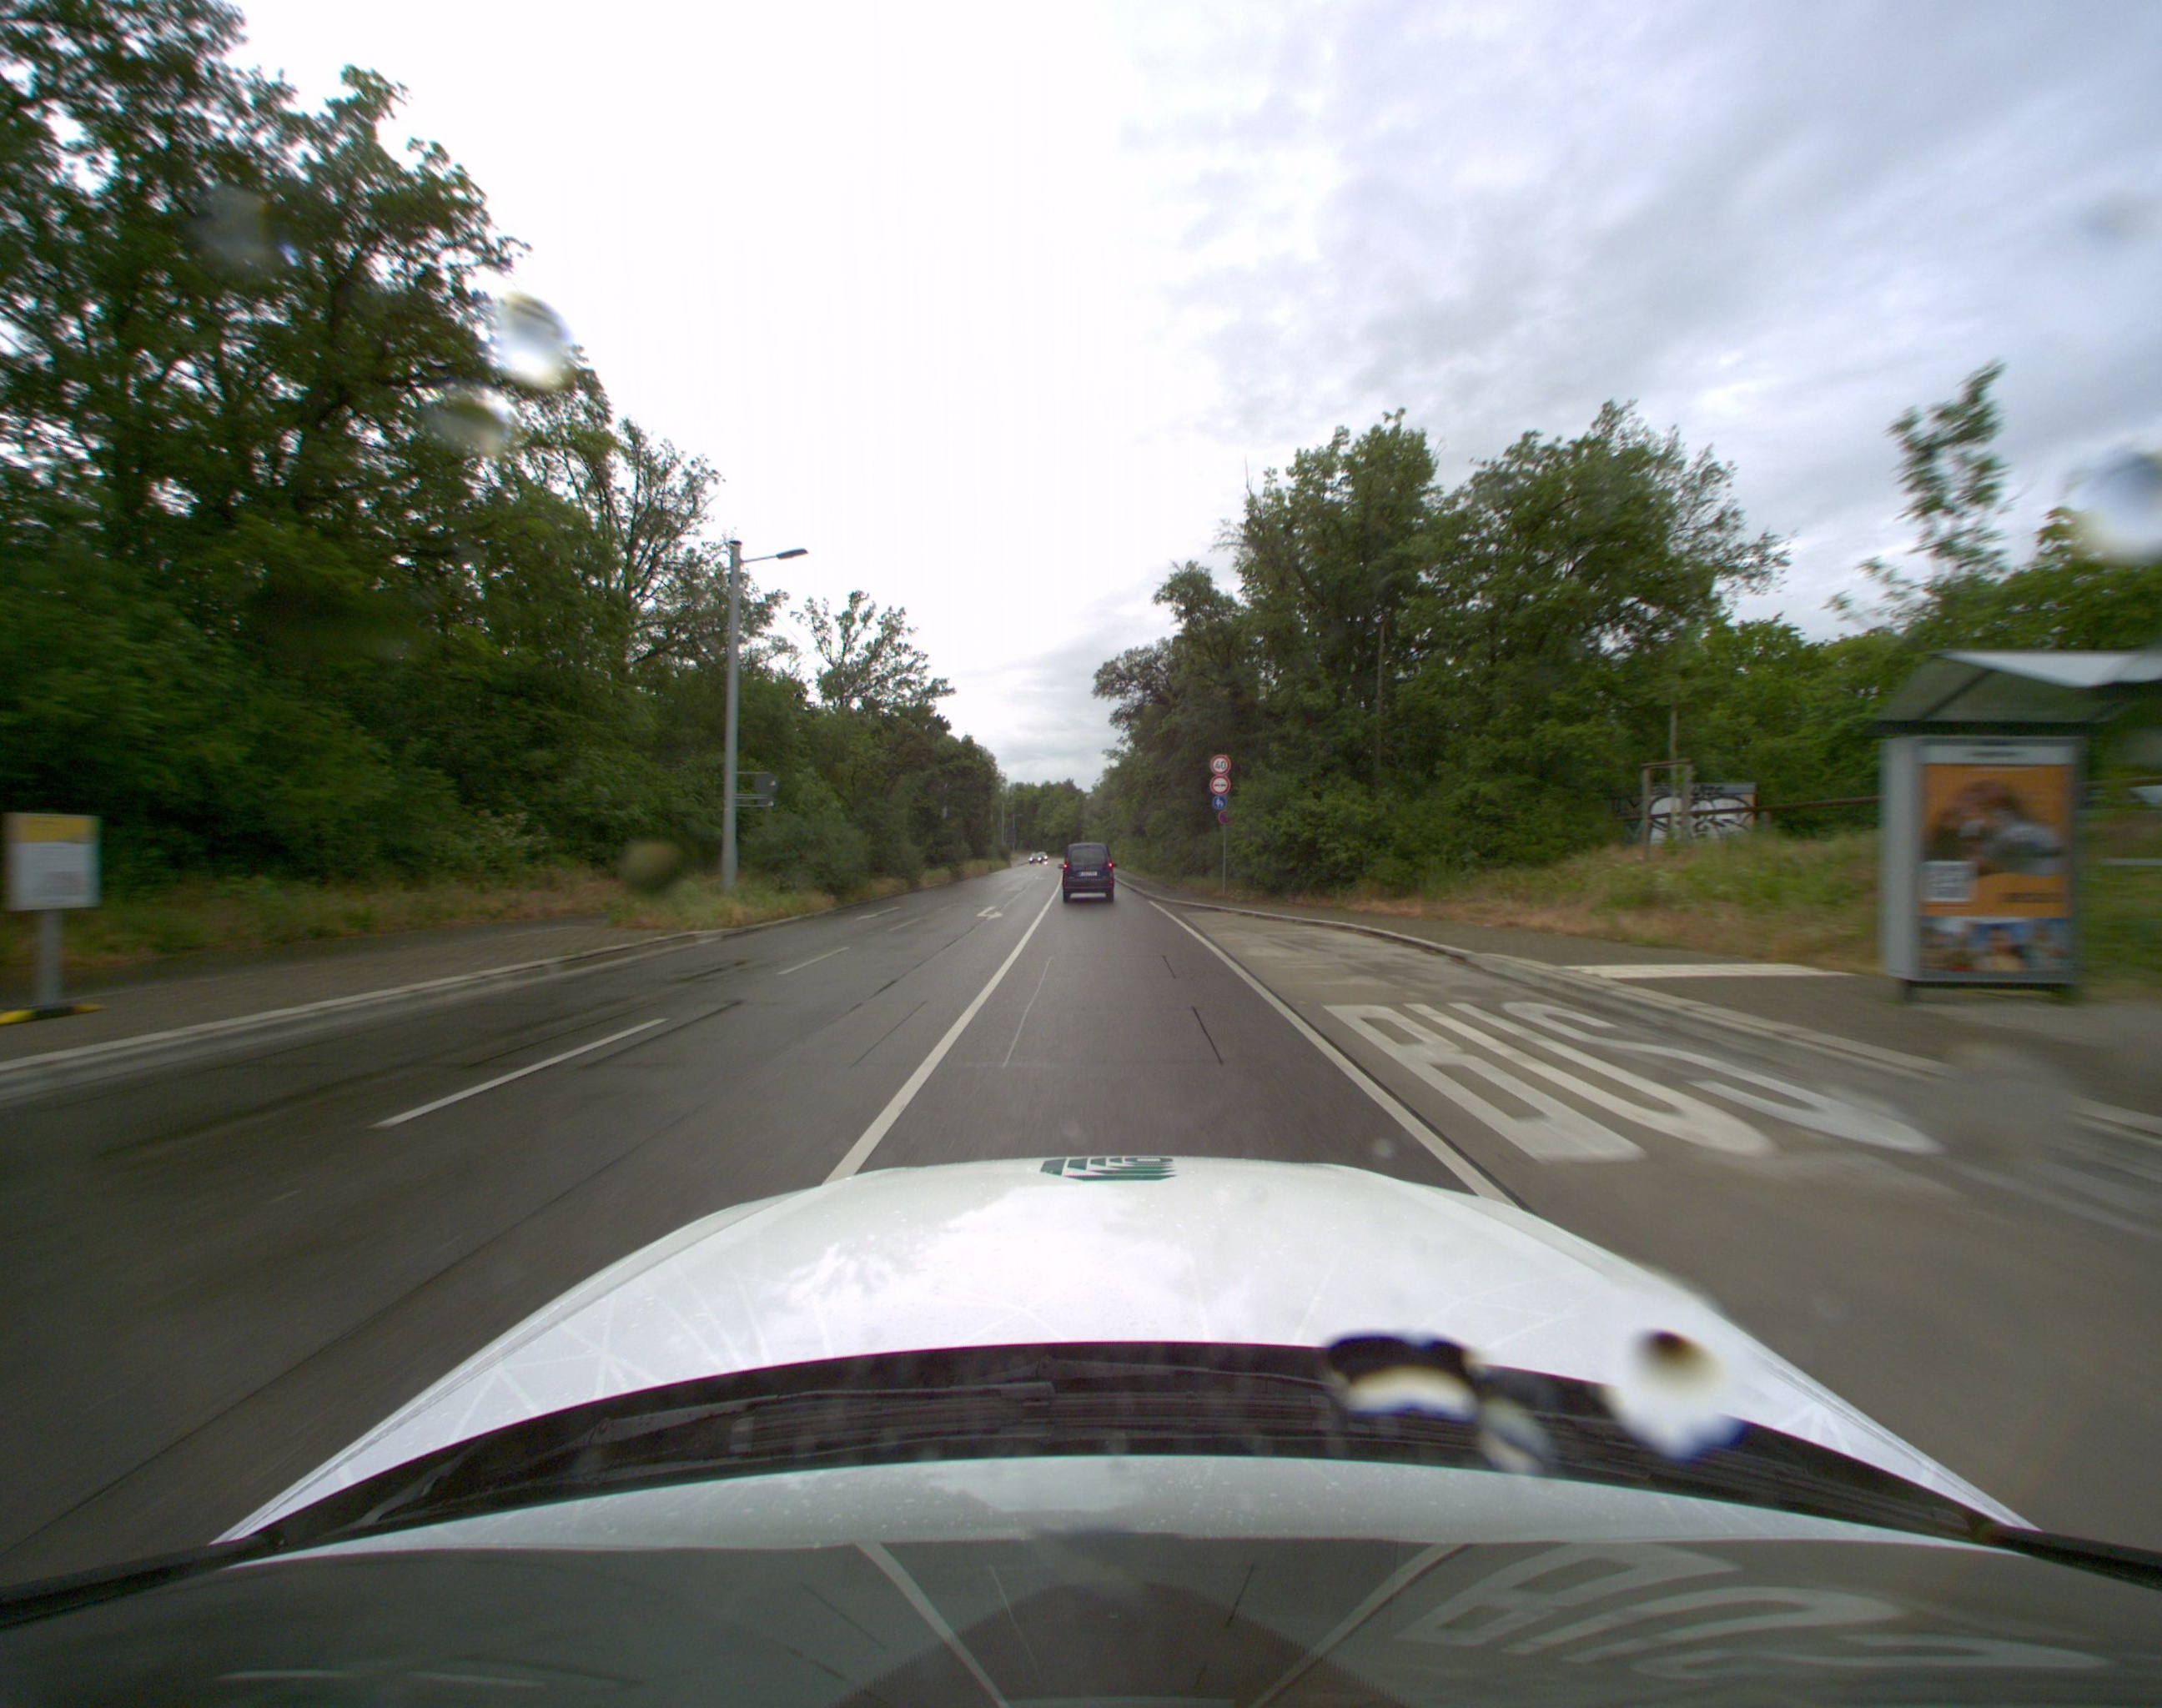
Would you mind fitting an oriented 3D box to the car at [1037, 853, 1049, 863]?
[{"bbox_3d":[-6.447,0.628,138.145,1.766,1.610,4.082,0,0,-1],"label":"car"}]

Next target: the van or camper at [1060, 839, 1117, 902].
[{"bbox_3d":[0.254,0.473,26.778,1.706,1.825,4.001,-1,2,1],"label":"van or camper"}]

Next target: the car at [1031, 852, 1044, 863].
[{"bbox_3d":[-6.106,0.496,114.101,1.594,1.441,3.988,-1,0,-1],"label":"car"}]

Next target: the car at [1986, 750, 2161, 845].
[{"bbox_3d":[19.510,-1.003,14.529,1.874,1.480,4.793,2,-1,9],"label":"car"}]
